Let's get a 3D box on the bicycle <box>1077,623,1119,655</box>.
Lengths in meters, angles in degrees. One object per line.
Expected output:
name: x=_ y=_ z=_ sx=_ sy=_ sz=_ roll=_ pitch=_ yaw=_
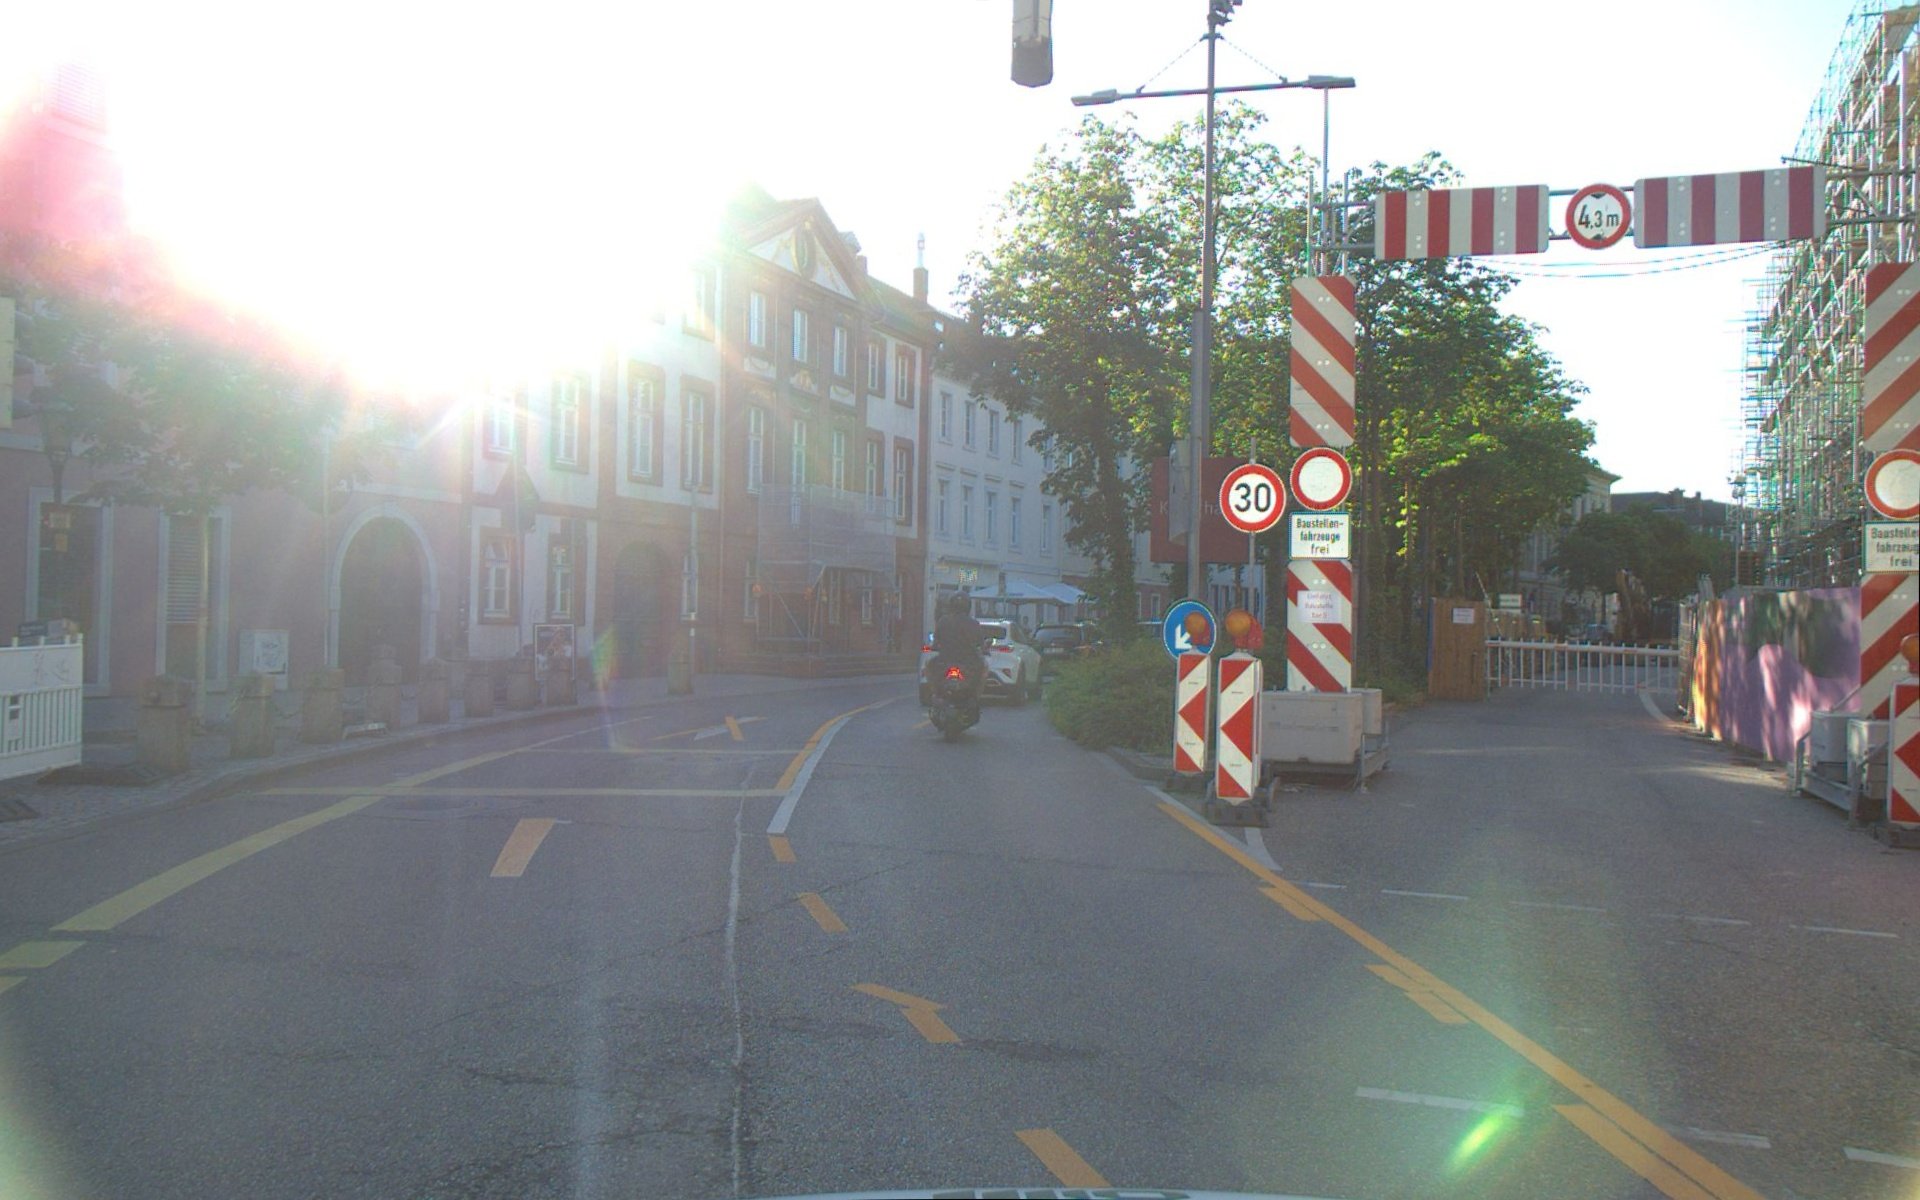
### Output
bicycle: x=4.856 y=1.356 z=58.038 sx=0.756 sy=1.081 sz=2.076 roll=0 pitch=-1 yaw=26

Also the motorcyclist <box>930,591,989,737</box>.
motorcyclist: x=-0.006 y=0.746 z=19.564 sx=0.644 sy=1.679 sz=0.650 roll=1 pitch=-1 yaw=-1

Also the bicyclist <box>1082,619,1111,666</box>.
bicyclist: x=4.779 y=1.490 z=57.893 sx=0.729 sy=1.611 sz=0.794 roll=1 pitch=-1 yaw=26

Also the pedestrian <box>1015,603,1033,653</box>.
pedestrian: x=2.345 y=1.035 z=60.591 sx=0.430 sy=1.806 sz=0.595 roll=0 pitch=-1 yaw=35

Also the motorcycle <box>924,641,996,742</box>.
motorcycle: x=-0.005 y=1.051 z=19.391 sx=0.780 sy=1.085 sz=1.725 roll=1 pitch=-1 yaw=0

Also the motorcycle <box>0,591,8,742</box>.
motorcycle: x=-9.044 y=0.583 z=13.674 sx=0.794 sy=1.340 sz=2.338 roll=0 pitch=-1 yaw=6

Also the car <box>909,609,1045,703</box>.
car: x=0.380 y=0.949 z=29.487 sx=1.811 sy=1.506 sz=4.060 roll=1 pitch=-1 yaw=9

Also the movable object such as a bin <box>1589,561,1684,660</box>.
movable object such as a bin: x=33.307 y=0.575 z=81.242 sx=3.245 sy=4.619 sz=7.889 roll=-1 pitch=-2 yaw=30

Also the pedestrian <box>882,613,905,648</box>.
pedestrian: x=-2.073 y=0.948 z=51.387 sx=0.525 sy=1.071 sz=0.551 roll=1 pitch=-1 yaw=18

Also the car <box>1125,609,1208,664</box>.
car: x=7.076 y=1.231 z=56.424 sx=1.803 sy=1.743 sz=4.057 roll=1 pitch=-1 yaw=22

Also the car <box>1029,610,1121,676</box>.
car: x=2.894 y=1.043 z=40.900 sx=1.801 sy=1.489 sz=4.061 roll=1 pitch=-1 yaw=11
